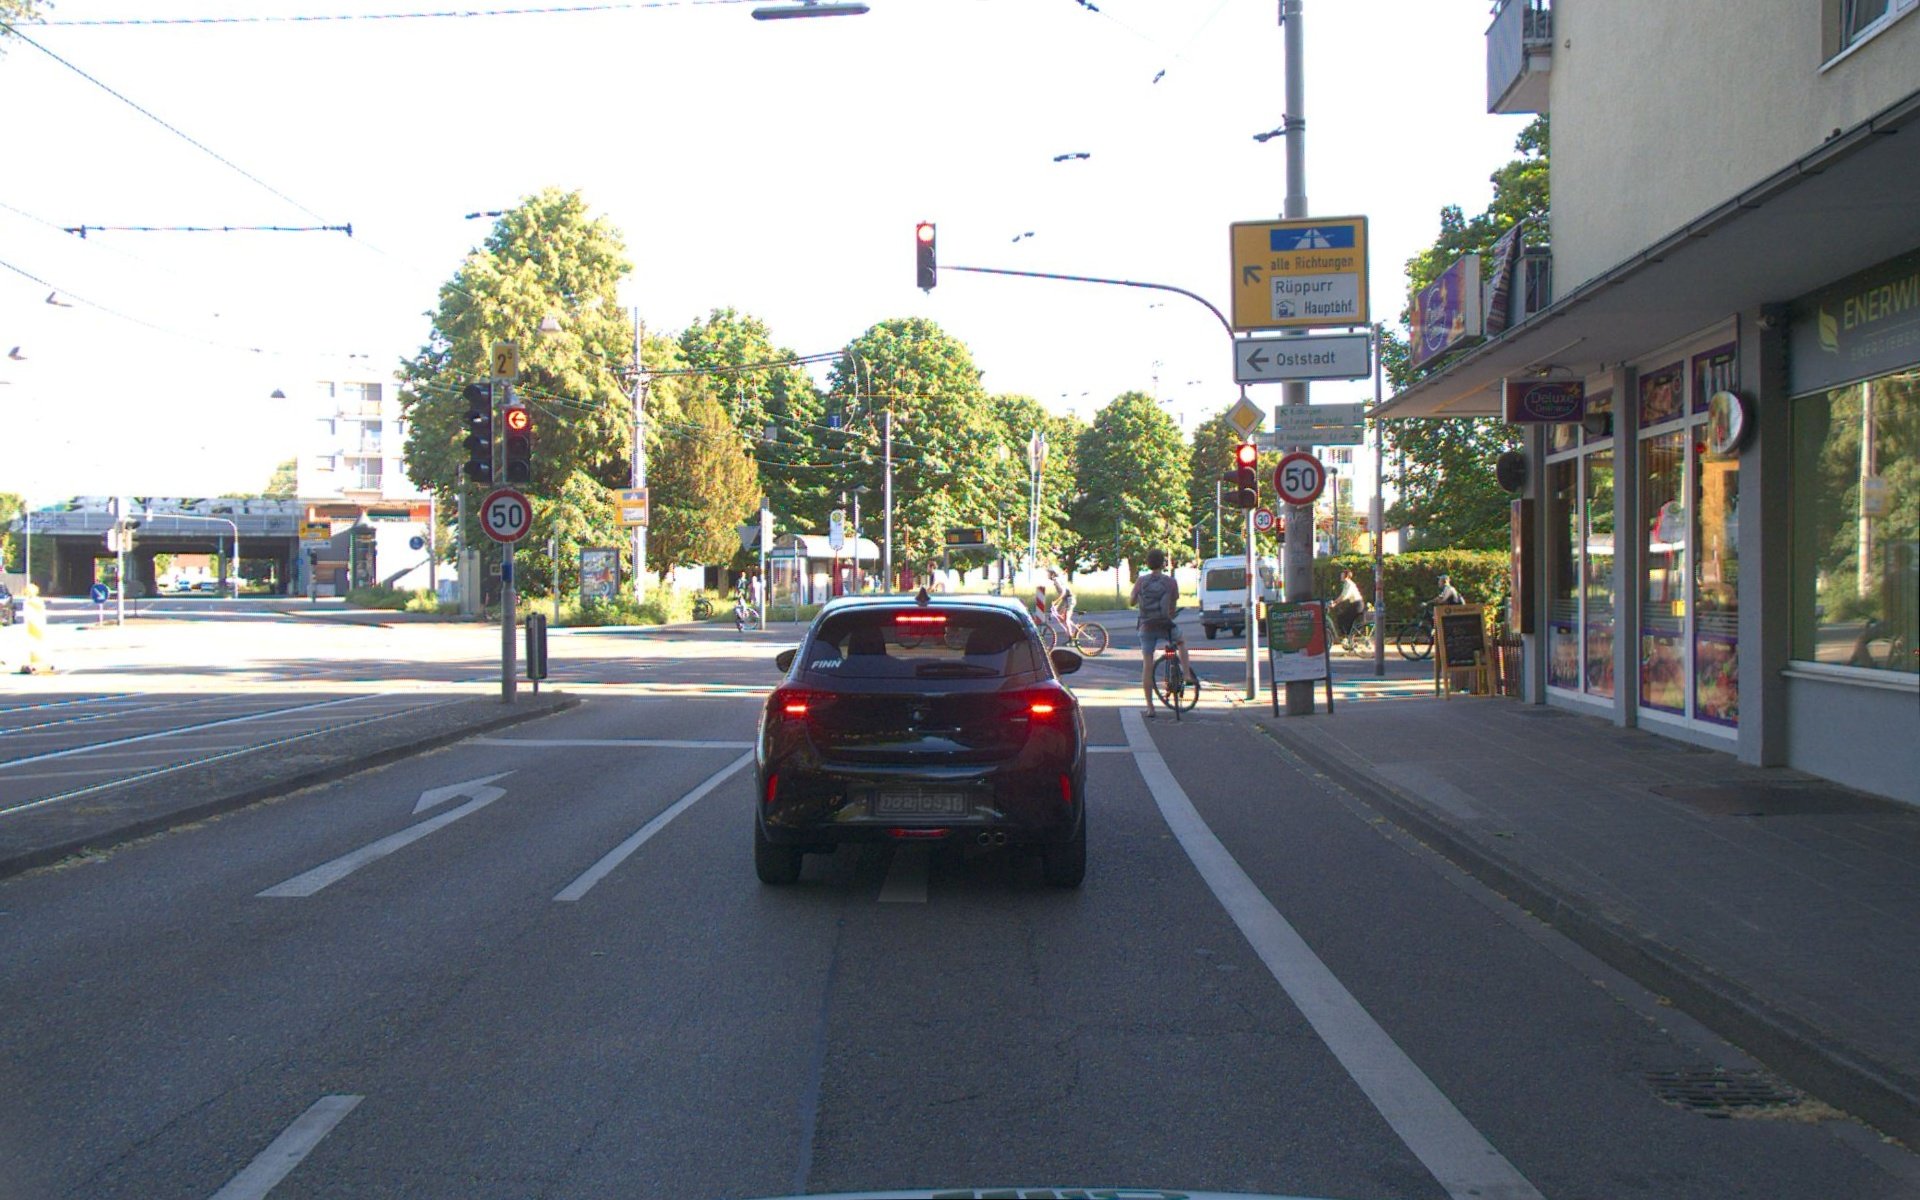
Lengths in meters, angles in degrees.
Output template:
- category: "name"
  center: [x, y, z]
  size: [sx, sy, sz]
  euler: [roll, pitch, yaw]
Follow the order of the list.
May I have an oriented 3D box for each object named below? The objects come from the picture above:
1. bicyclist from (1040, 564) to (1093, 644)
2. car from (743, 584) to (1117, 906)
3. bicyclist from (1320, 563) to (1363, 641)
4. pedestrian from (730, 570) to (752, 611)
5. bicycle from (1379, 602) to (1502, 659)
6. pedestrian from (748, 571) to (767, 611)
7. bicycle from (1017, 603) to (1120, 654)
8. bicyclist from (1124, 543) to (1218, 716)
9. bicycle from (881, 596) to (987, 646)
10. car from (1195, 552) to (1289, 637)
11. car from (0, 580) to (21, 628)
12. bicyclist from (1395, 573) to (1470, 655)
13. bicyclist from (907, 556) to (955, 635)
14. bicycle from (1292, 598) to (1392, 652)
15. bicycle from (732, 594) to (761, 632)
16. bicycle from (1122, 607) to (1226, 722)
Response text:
- category: "bicyclist"
  center: [2.157, 0.081, 33.429]
  size: [0.988, 1.598, 0.800]
  euler: [0, 0, 10]
- category: "car"
  center: [-0.149, 0.647, 9.637]
  size: [1.692, 1.454, 4.187]
  euler: [1, 0, -1]
- category: "bicyclist"
  center: [7.946, 0.040, 34.456]
  size: [0.843, 1.623, 0.650]
  euler: [0, 0, 13]
- category: "pedestrian"
  center: [-9.062, -0.387, 68.424]
  size: [0.735, 1.658, 0.598]
  euler: [1, 0, 6]
- category: "bicycle"
  center: [9.295, 0.574, 32.008]
  size: [2.153, 1.051, 0.831]
  euler: [-1, 0, -14]
- category: "pedestrian"
  center: [-8.346, -0.374, 68.319]
  size: [0.623, 1.658, 0.572]
  euler: [1, 0, 6]
- category: "bicycle"
  center: [2.196, 0.577, 33.407]
  size: [2.014, 1.001, 0.673]
  euler: [0, 0, 10]
- category: "bicyclist"
  center: [2.370, 0.320, 18.657]
  size: [0.922, 1.883, 0.864]
  euler: [-1, 0, -1]
- category: "bicycle"
  center: [-0.576, 0.469, 37.017]
  size: [2.244, 1.103, 0.801]
  euler: [0, 0, 12]
- category: "car"
  center: [8.145, -0.179, 47.433]
  size: [2.020, 2.288, 4.890]
  euler: [0, 1, 17]
- category: "car"
  center: [-33.004, 0.099, 55.653]
  size: [1.798, 1.545, 3.870]
  euler: [2, 0, -21]
- category: "bicyclist"
  center: [9.121, 0.263, 31.962]
  size: [1.094, 1.547, 0.918]
  euler: [0, 0, -14]
- category: "bicyclist"
  center: [-0.647, -0.097, 37.019]
  size: [0.907, 1.737, 0.876]
  euler: [0, 0, 12]
- category: "bicycle"
  center: [7.961, 0.520, 34.474]
  size: [2.011, 1.113, 0.593]
  euler: [0, 0, 13]
- category: "bicycle"
  center: [-6.085, 0.362, 47.271]
  size: [0.593, 1.049, 1.982]
  euler: [0, 1, -1]
- category: "bicycle"
  center: [2.376, 0.691, 18.598]
  size: [0.842, 1.173, 2.171]
  euler: [-1, 1, -1]
